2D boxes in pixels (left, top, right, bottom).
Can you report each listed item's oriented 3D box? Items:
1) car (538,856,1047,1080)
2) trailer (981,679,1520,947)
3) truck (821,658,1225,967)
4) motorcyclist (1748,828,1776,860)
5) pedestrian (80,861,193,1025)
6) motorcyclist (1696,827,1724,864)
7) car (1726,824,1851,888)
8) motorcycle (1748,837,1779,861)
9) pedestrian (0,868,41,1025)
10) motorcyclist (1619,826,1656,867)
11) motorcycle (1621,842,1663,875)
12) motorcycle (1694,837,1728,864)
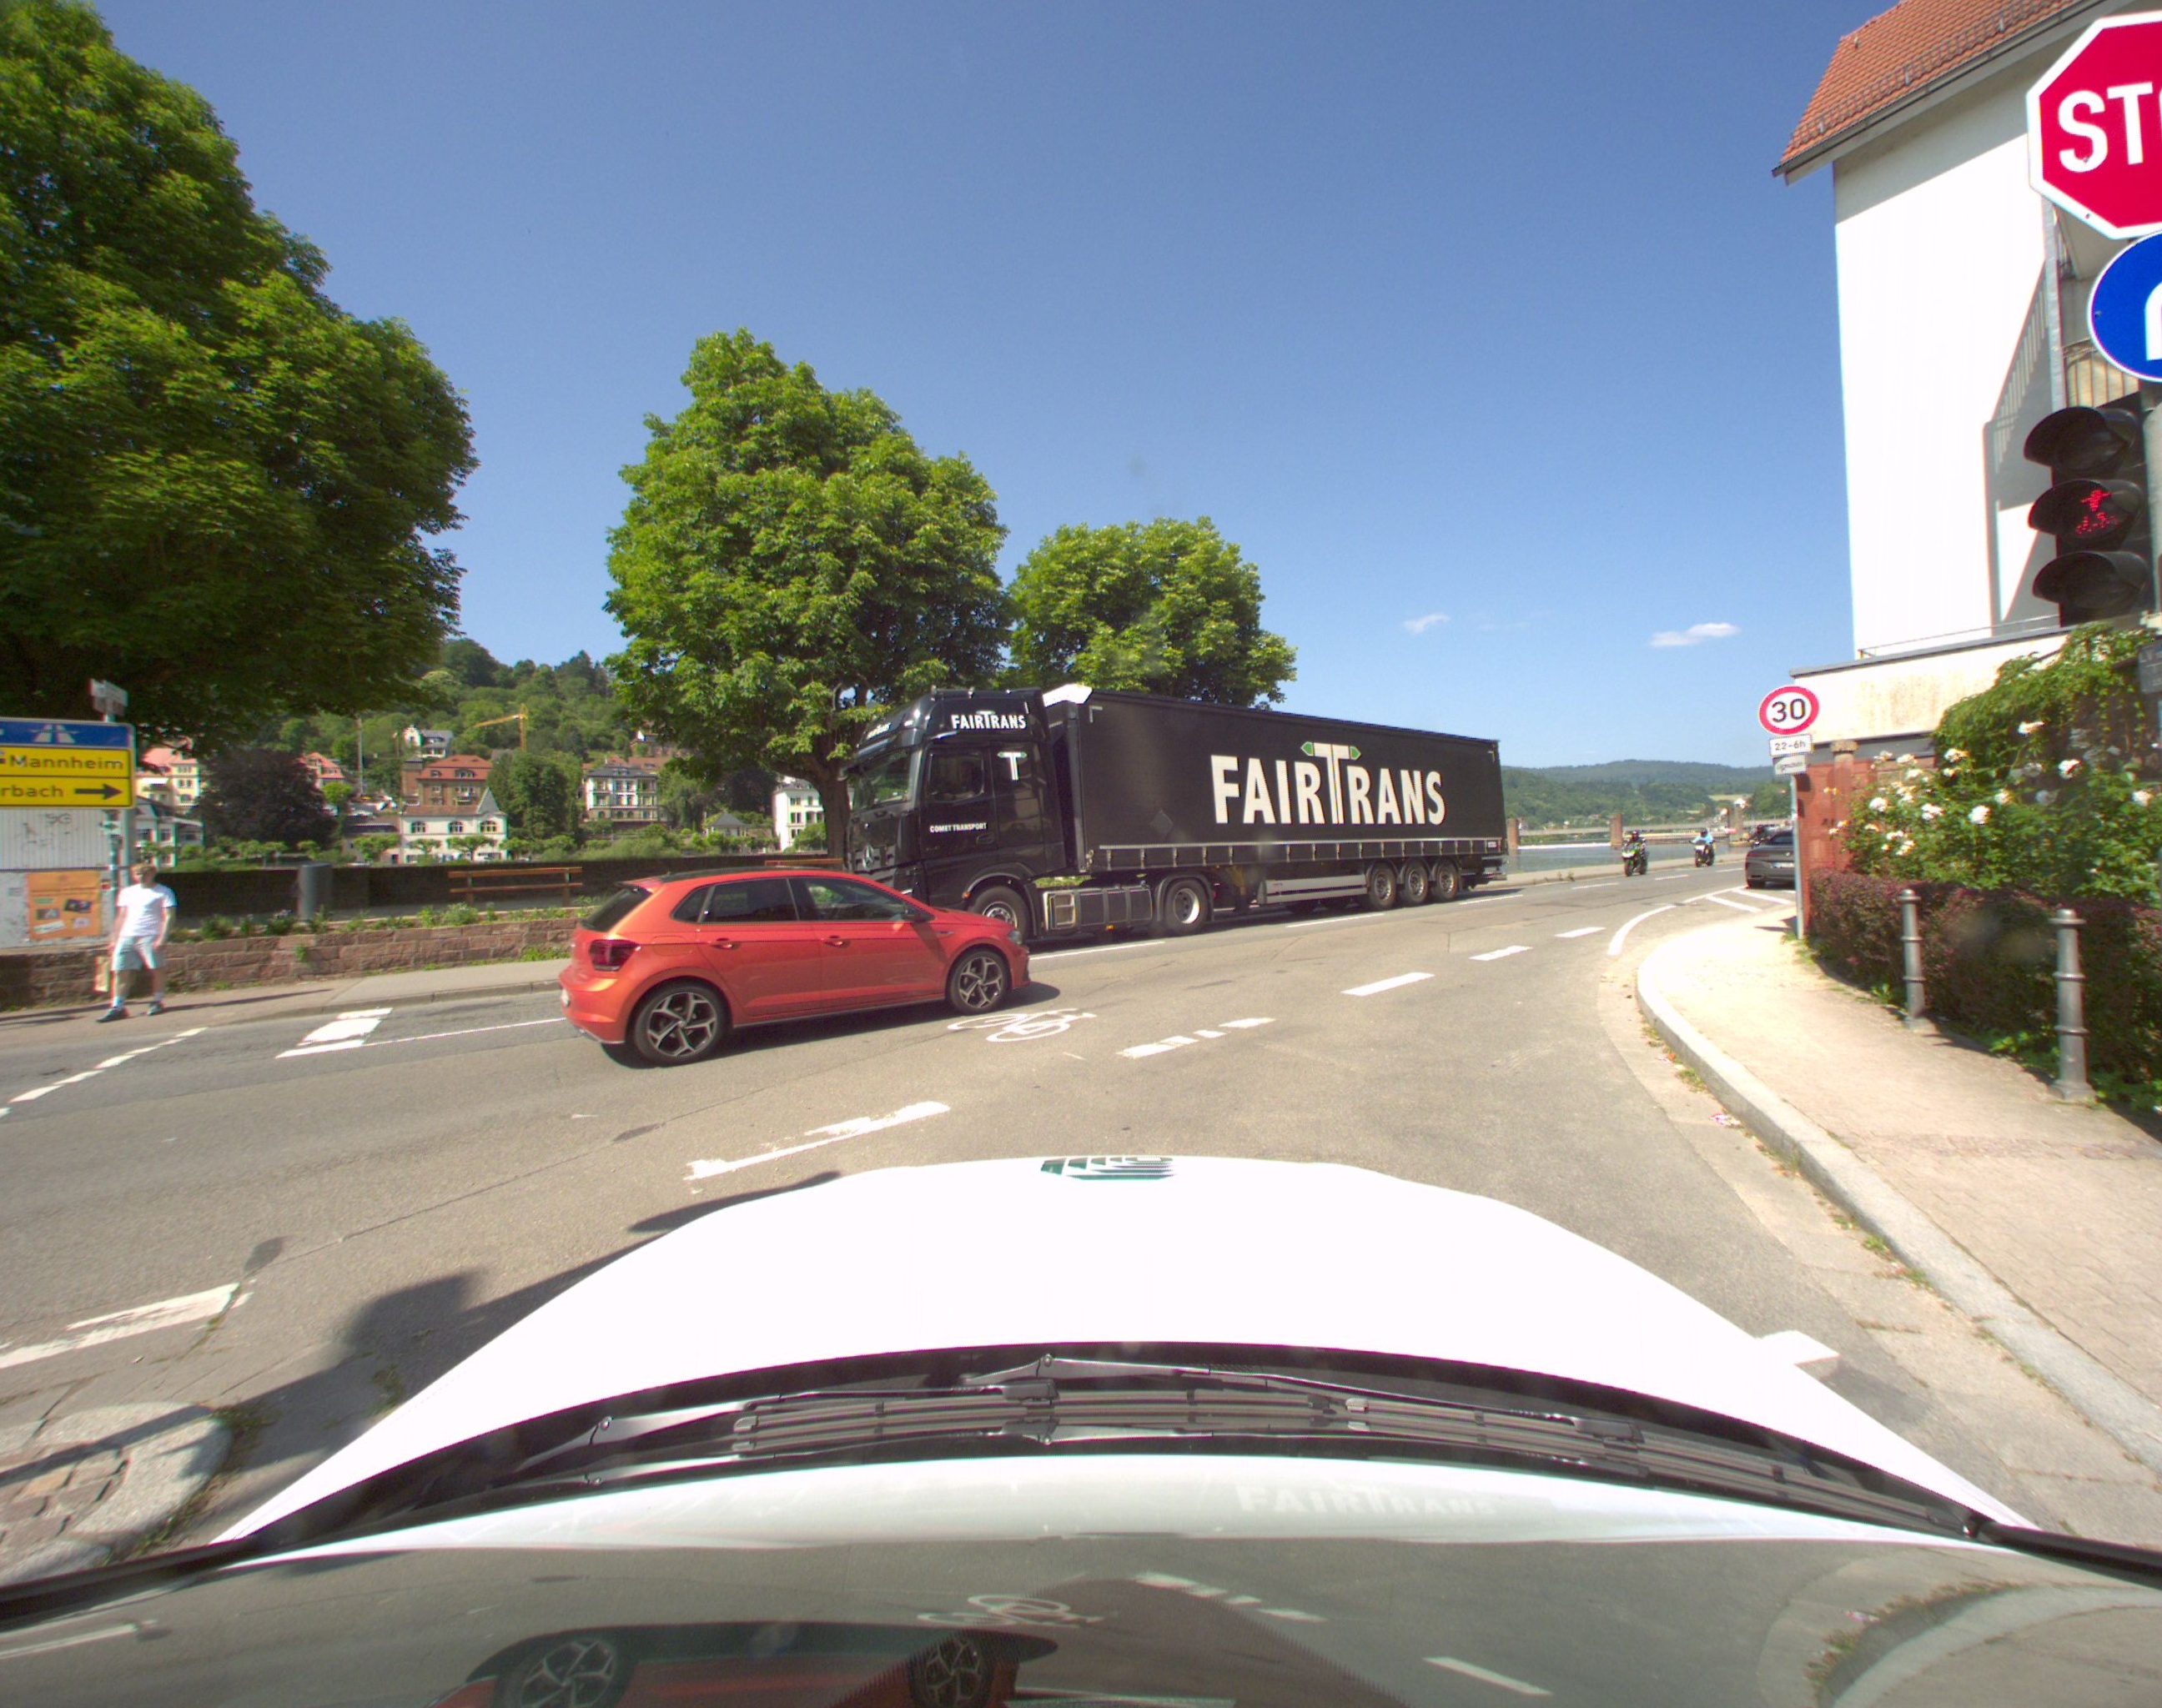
[{"bbox_3d":[-2.477,0.803,7.457,4.037,1.405,1.711,-2,0,-37],"label":"car"},{"bbox_3d":[4.669,-0.780,17.720,13.835,4.104,2.810,-2,-2,-37],"label":"trailer"},{"bbox_3d":[-0.824,-0.567,13.594,5.960,4.071,2.807,-2,-2,-37],"label":"truck"},{"bbox_3d":[30.571,-0.456,36.552,0.804,1.366,0.780,-2,-1,-38],"label":"motorcyclist"},{"bbox_3d":[-11.049,1.004,9.551,0.708,1.802,0.573,-2,-1,-35],"label":"pedestrian"},{"bbox_3d":[27.480,-0.368,35.574,0.996,1.525,0.658,-2,-2,-38],"label":"motorcyclist"},{"bbox_3d":[17.211,0.001,19.765,3.758,1.399,1.673,-2,1,-39],"label":"car"},{"bbox_3d":[30.744,-0.237,36.692,1.824,1.024,0.651,-2,-1,-38],"label":"motorcycle"},{"bbox_3d":[-12.601,1.064,9.209,0.686,1.769,0.717,-3,-1,-3],"label":"pedestrian"},{"bbox_3d":[20.608,-0.270,30.149,0.996,1.460,0.772,-2,-2,-38],"label":"motorcyclist"},{"bbox_3d":[20.820,0.171,30.215,2.103,1.123,0.628,-2,-3,-38],"label":"motorcycle"},{"bbox_3d":[27.554,-0.159,35.602,2.103,1.123,0.628,-2,-3,-38],"label":"motorcycle"}]
